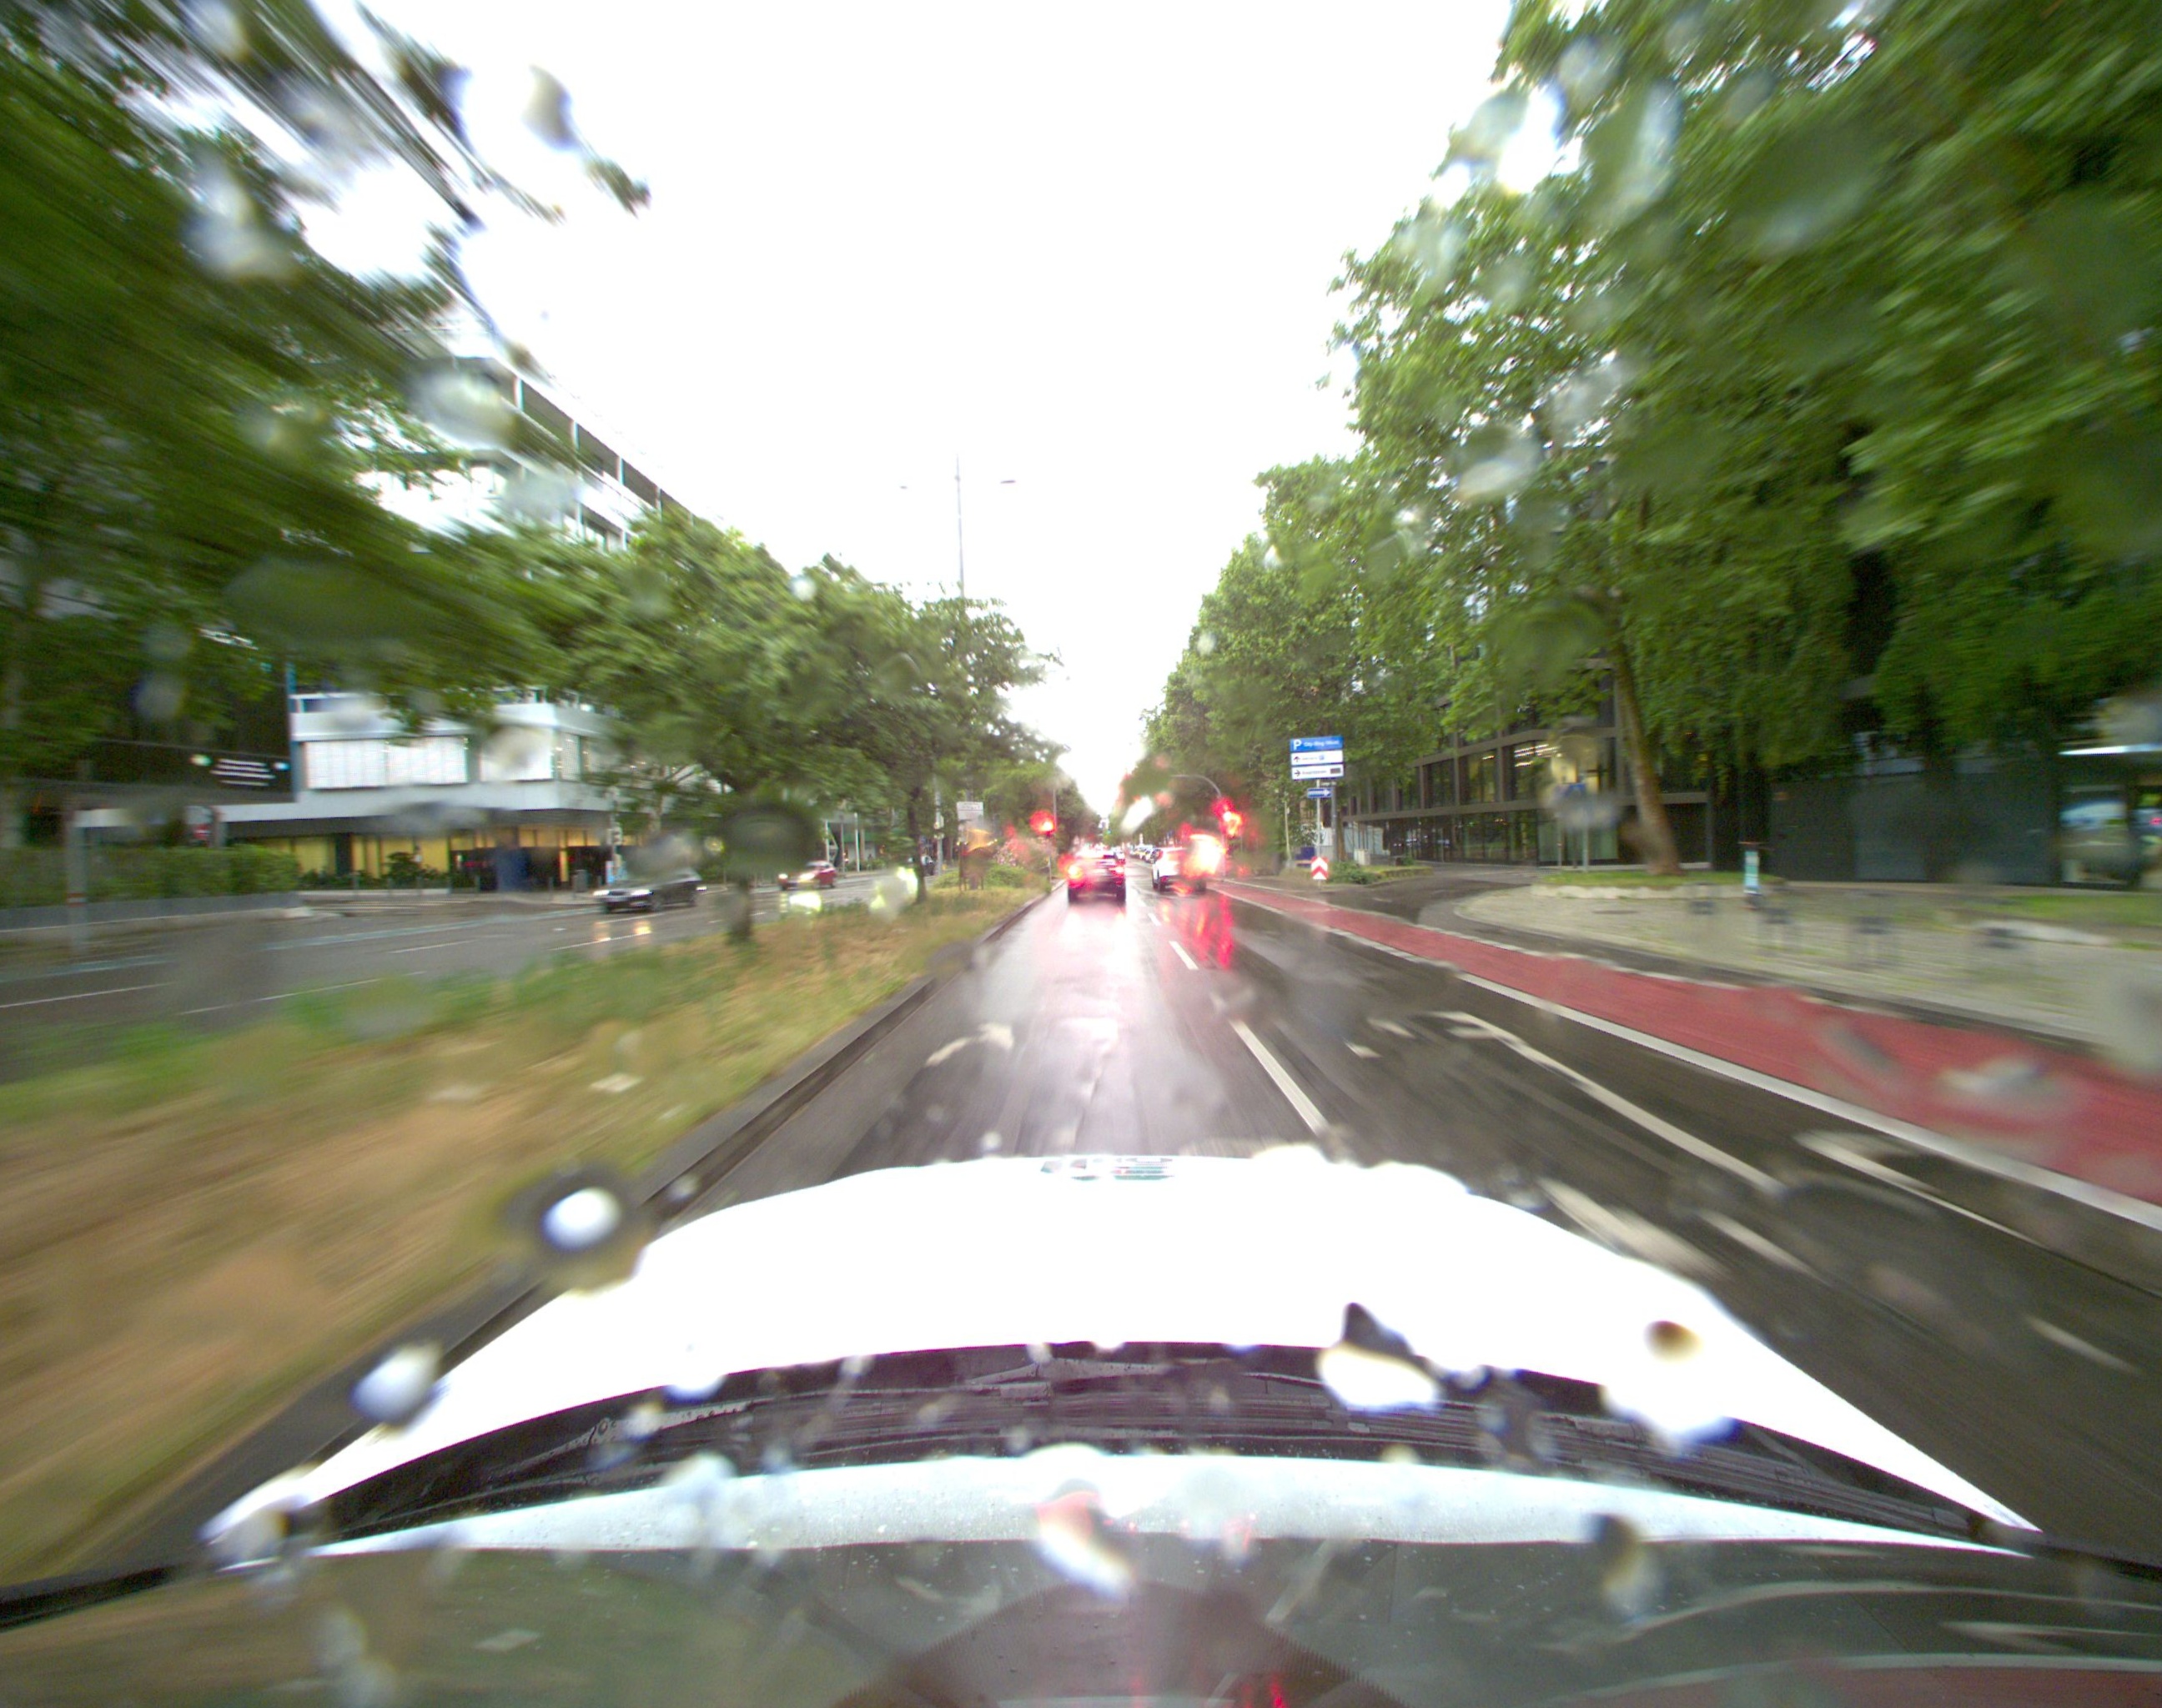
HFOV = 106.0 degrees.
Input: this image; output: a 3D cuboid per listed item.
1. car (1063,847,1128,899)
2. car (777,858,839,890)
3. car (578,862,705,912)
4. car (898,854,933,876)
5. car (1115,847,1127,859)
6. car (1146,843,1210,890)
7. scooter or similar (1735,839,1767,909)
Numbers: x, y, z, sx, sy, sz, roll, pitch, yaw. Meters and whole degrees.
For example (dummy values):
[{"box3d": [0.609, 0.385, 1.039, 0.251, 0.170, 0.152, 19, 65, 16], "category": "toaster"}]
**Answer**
[{"box3d": [0.478, 0.550, 26.560, 1.912, 1.491, 4.001, -1, 1, 1], "category": "car"}, {"box3d": [-13.682, 0.963, 41.091, 1.609, 1.394, 4.185, -1, 1, 1], "category": "car"}, {"box3d": [-14.159, 1.013, 26.522, 1.837, 1.389, 4.001, -2, 1, 1], "category": "car"}, {"box3d": [-12.665, 0.780, 62.425, 1.824, 1.552, 4.187, -2, 0, -1], "category": "car"}, {"box3d": [5.804, -0.210, 119.316, 1.615, 1.666, 4.001, -2, 1, 1], "category": "car"}, {"box3d": [3.750, 0.432, 32.226, 1.986, 1.655, 4.890, -1, 1, 1], "category": "car"}, {"box3d": [12.254, 0.343, 14.904, 0.377, 1.228, 1.086, -1, 0, 37], "category": "scooter or similar"}]
